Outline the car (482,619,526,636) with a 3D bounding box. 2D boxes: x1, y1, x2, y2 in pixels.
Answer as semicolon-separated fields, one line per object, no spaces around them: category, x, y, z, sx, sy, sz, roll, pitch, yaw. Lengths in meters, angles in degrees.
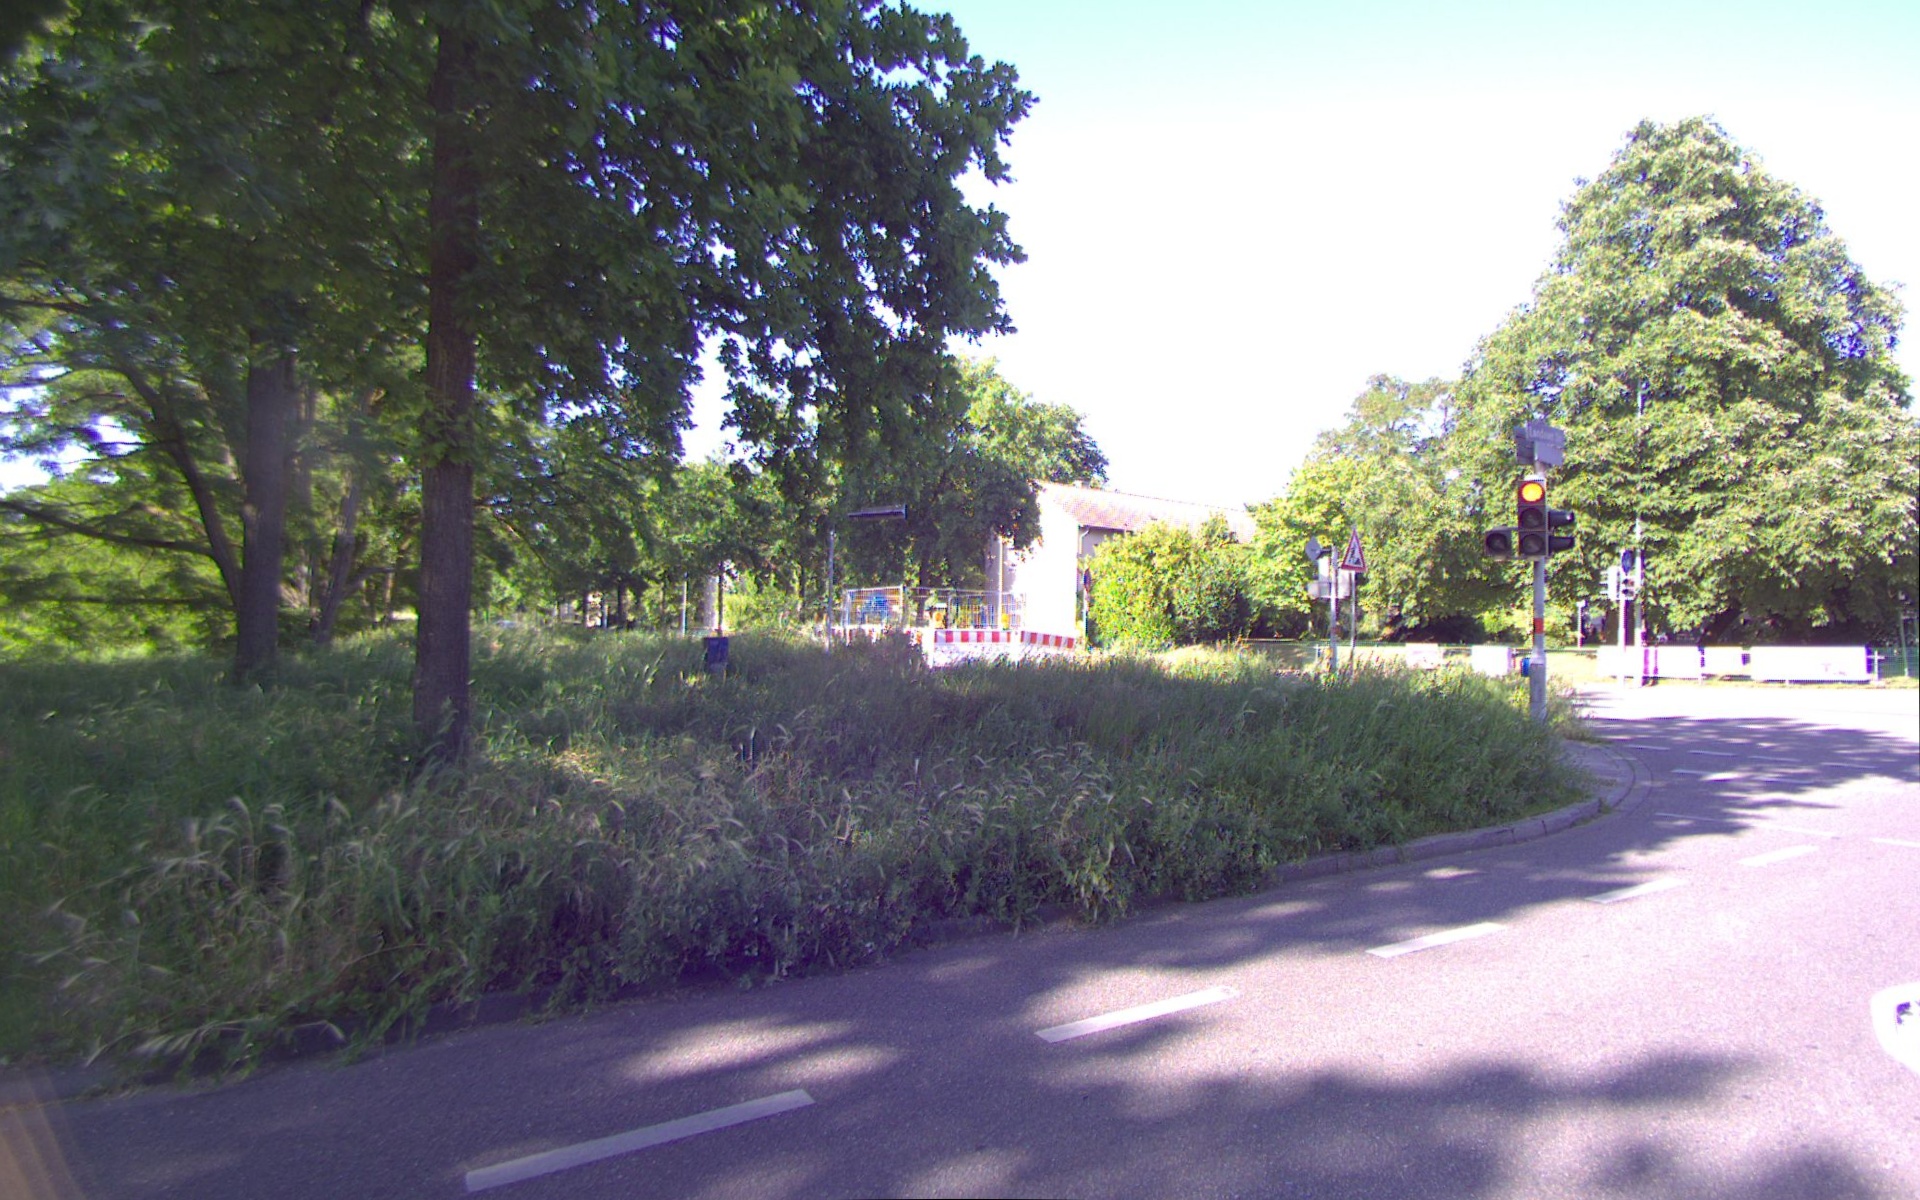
car;-47.379;2.859;104.493;3.939;1.673;1.991;2;0;-20
